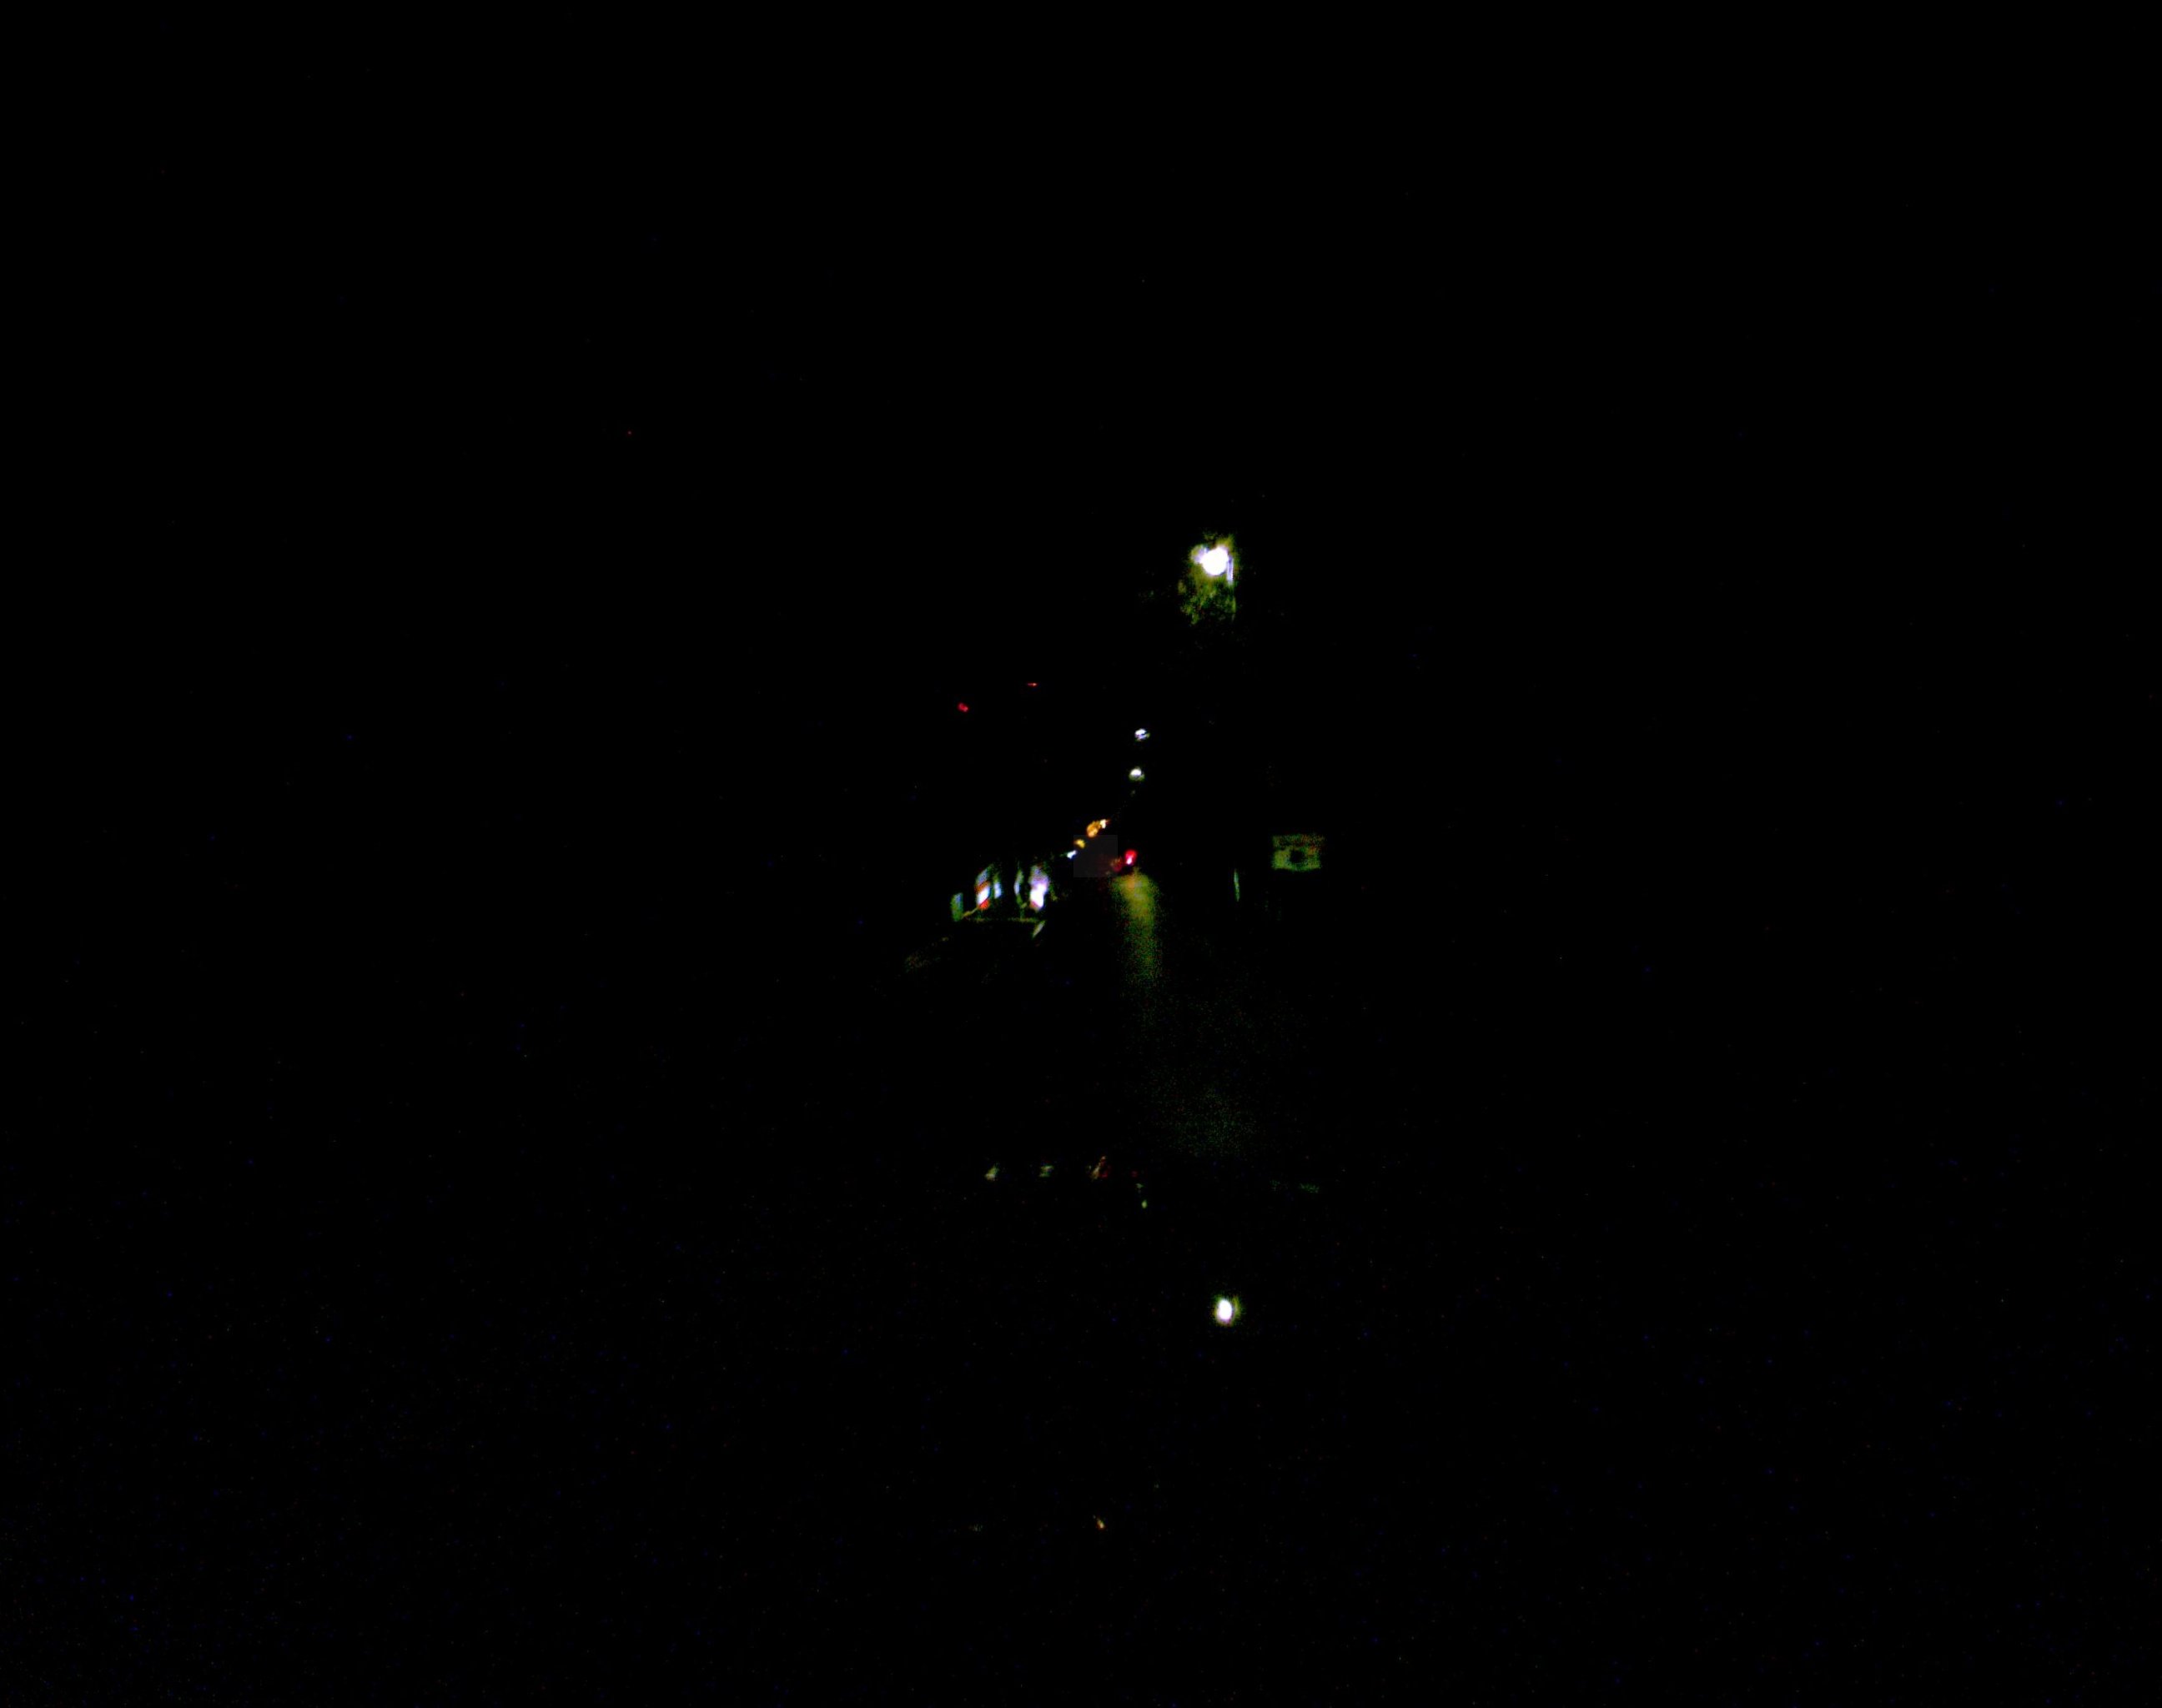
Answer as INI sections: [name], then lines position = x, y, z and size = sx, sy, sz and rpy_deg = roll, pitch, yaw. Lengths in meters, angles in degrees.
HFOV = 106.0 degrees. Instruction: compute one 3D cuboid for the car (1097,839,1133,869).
[car]
position = 2.006, -0.018, 48.819
size = 1.987, 1.684, 4.000
rpy_deg = 0, 0, 0
